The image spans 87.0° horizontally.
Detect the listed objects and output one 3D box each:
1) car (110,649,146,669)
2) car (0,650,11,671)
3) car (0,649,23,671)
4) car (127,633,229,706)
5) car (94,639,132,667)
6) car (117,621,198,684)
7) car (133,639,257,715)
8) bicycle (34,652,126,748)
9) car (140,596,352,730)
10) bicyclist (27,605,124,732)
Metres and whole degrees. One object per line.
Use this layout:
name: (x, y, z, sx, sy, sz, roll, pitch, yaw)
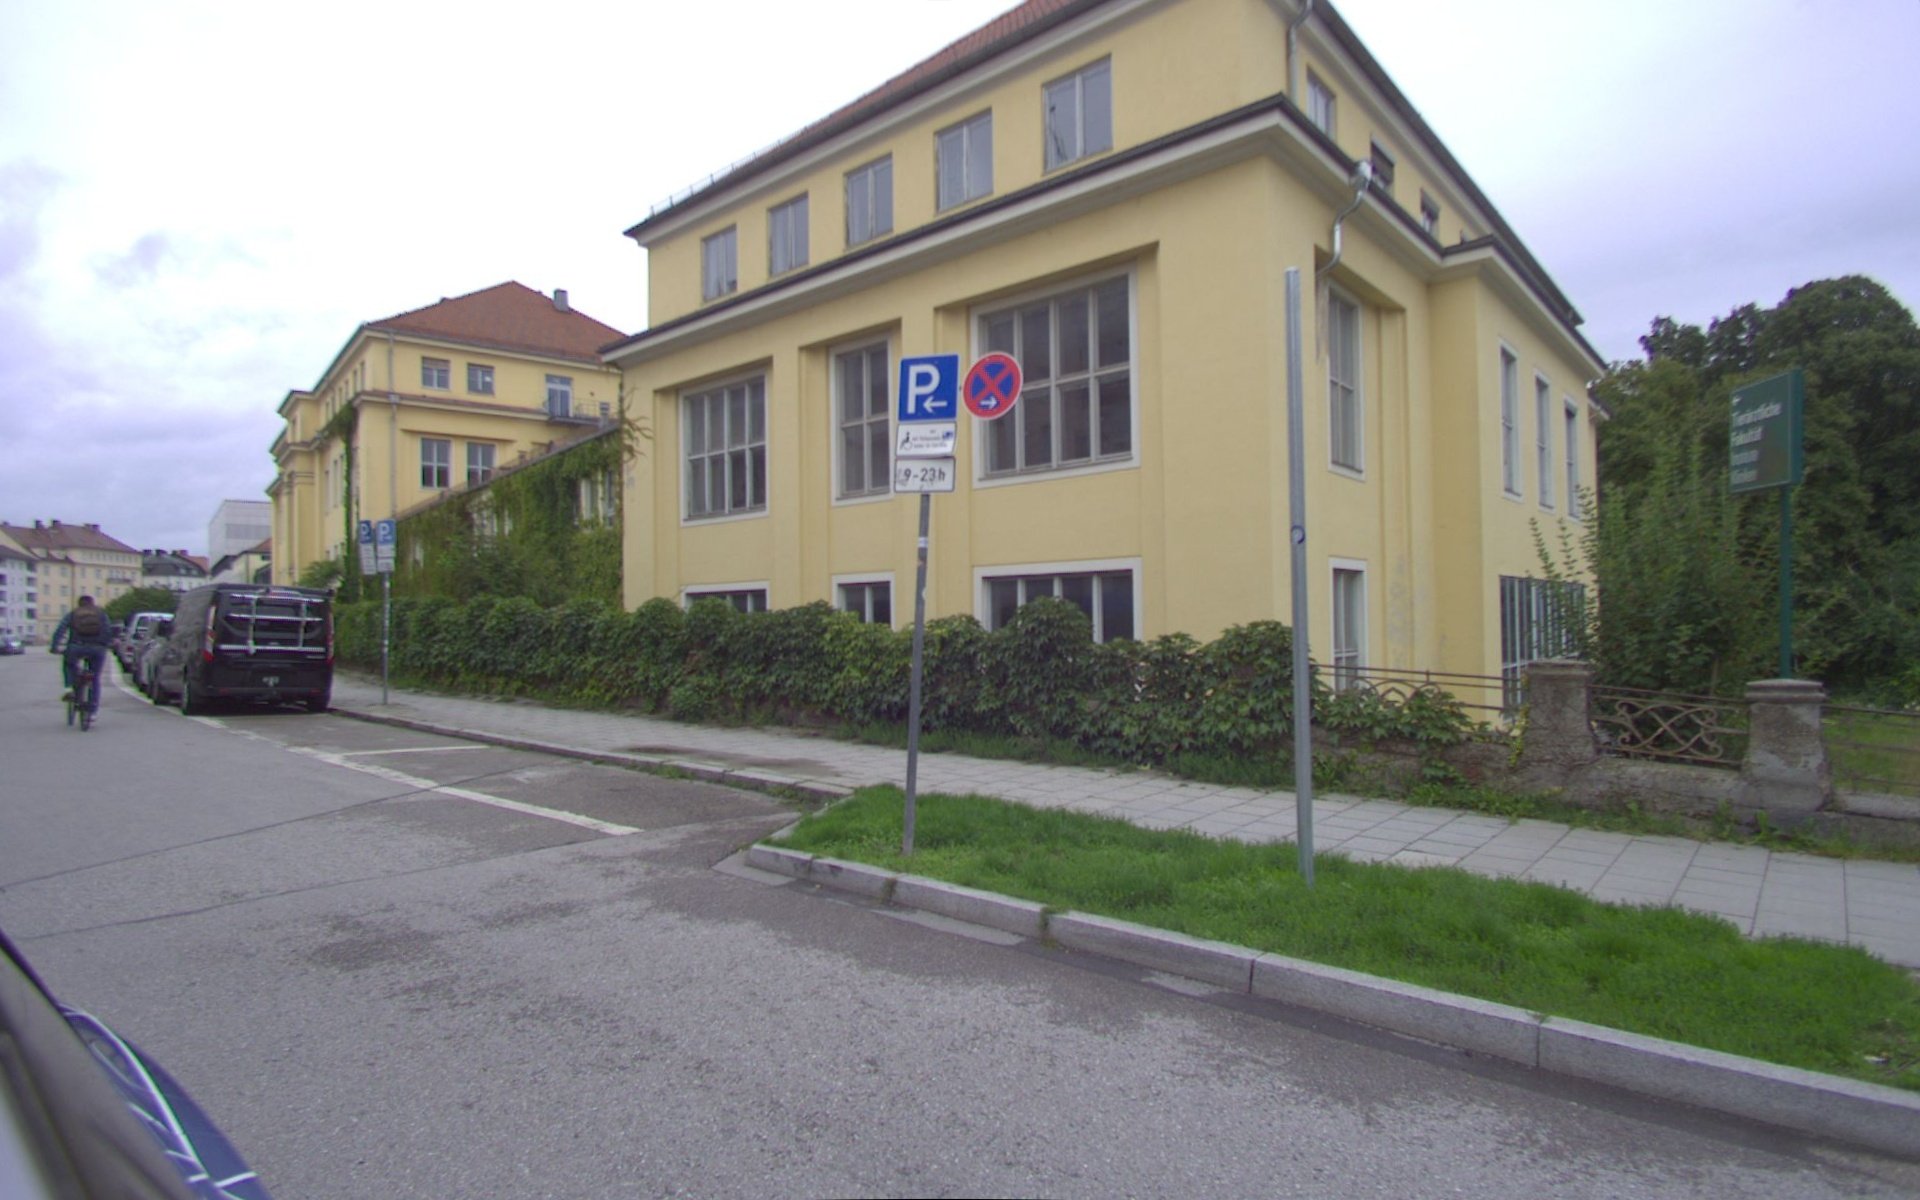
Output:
car: (-66.847, 4.732, 81.314, 1.934, 1.493, 4.534, 4, -5, -42)
car: (-65.733, 4.112, 68.624, 1.666, 1.412, 4.372, 0, -2, -38)
car: (-76.017, 4.802, 80.634, 3.803, 1.686, 1.663, -3, -1, 42)
car: (-19.494, 1.703, 25.159, 1.676, 1.655, 4.496, 4, -5, -41)
car: (-90.893, 5.721, 108.563, 6.195, 2.876, 2.189, -3, -5, 42)
car: (-26.336, 1.723, 33.228, 1.863, 1.904, 4.782, 4, -5, -39)
car: (-16.183, 1.596, 21.327, 1.673, 1.404, 4.507, 6, -6, -41)
bicycle: (-11.936, 1.314, 13.704, 2.002, 1.167, 0.663, -2, -2, 41)
car: (-12.488, 1.049, 17.535, 5.352, 1.979, 2.049, -2, -4, 45)
bicyclist: (-11.922, 0.894, 13.644, 0.946, 1.620, 0.854, -2, -2, 40)
